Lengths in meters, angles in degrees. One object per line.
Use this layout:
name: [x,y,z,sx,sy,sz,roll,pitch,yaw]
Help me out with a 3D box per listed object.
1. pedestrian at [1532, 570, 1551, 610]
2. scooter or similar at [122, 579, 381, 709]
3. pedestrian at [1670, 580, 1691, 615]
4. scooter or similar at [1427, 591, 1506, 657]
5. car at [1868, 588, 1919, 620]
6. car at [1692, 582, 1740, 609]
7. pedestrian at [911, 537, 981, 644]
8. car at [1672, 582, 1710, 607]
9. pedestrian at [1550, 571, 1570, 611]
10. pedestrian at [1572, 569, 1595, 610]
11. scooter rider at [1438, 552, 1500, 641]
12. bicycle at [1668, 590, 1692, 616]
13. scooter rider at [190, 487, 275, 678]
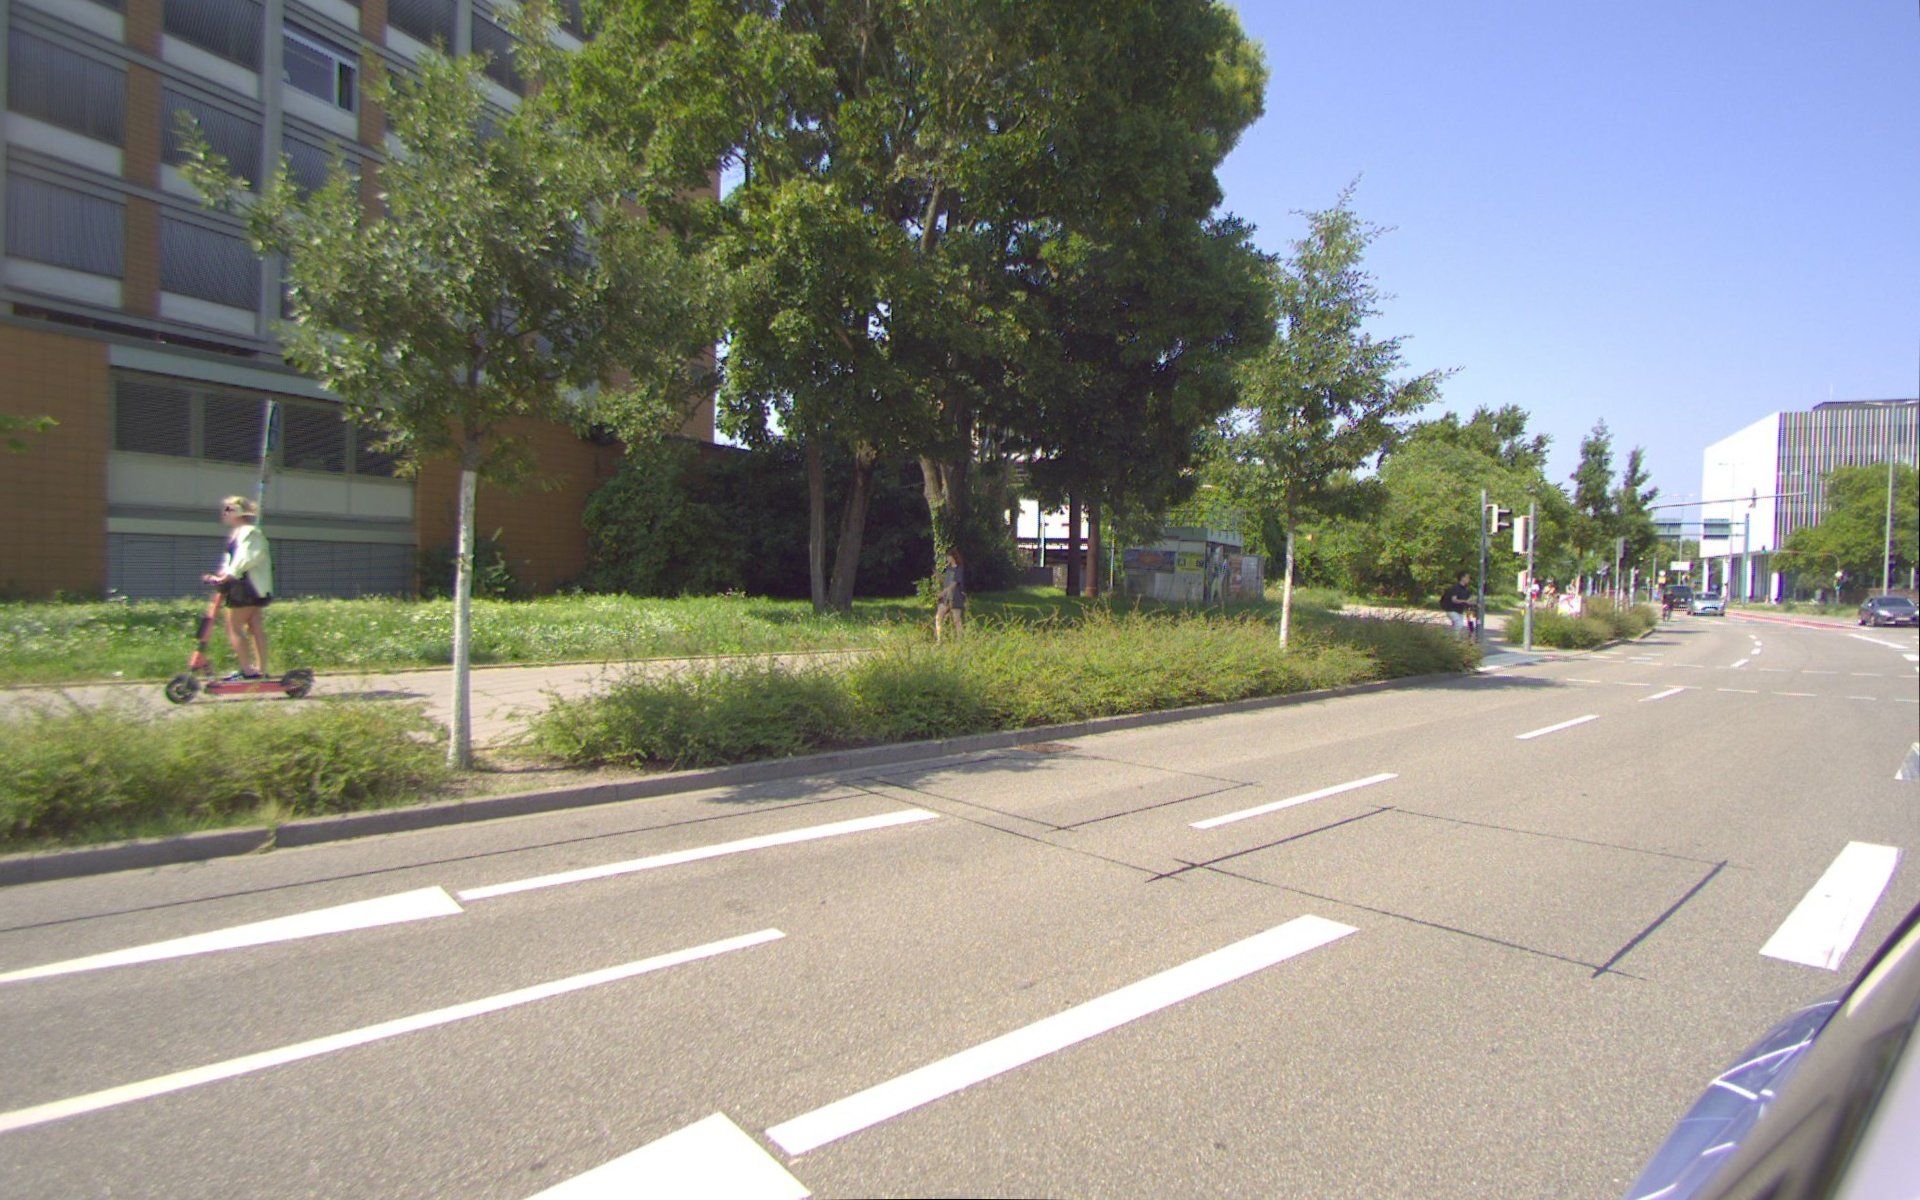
pedestrian: [26.256,-0.463,45.709,0.689,1.793,0.581,3,2,32]
scooter or similar: [-6.745,0.365,9.738,0.557,1.072,1.973,7,6,43]
pedestrian: [36.198,-0.135,50.860,0.775,1.689,0.543,3,2,32]
scooter or similar: [10.348,0.471,20.719,0.573,1.249,1.371,1,3,-22]
car: [43.292,0.153,46.386,1.777,1.374,3.388,1,1,30]
car: [49.457,-0.324,66.281,1.984,1.699,3.957,2,2,30]
pedestrian: [-0.234,-0.173,17.090,0.706,1.725,0.865,5,4,43]
car: [56.978,-0.460,78.950,1.984,1.801,3.957,2,2,30]
pedestrian: [26.956,-0.406,45.465,0.689,1.793,0.581,3,2,32]
pedestrian: [27.776,-0.464,45.075,0.788,1.790,0.817,2,2,31]
scooter rider: [10.418,-0.082,20.721,0.674,1.760,0.807,1,2,-22]
bicycle: [36.234,0.140,50.937,0.780,1.227,1.769,2,2,31]
scooter rider: [-6.867,-0.186,9.549,0.671,1.720,0.531,6,4,43]
